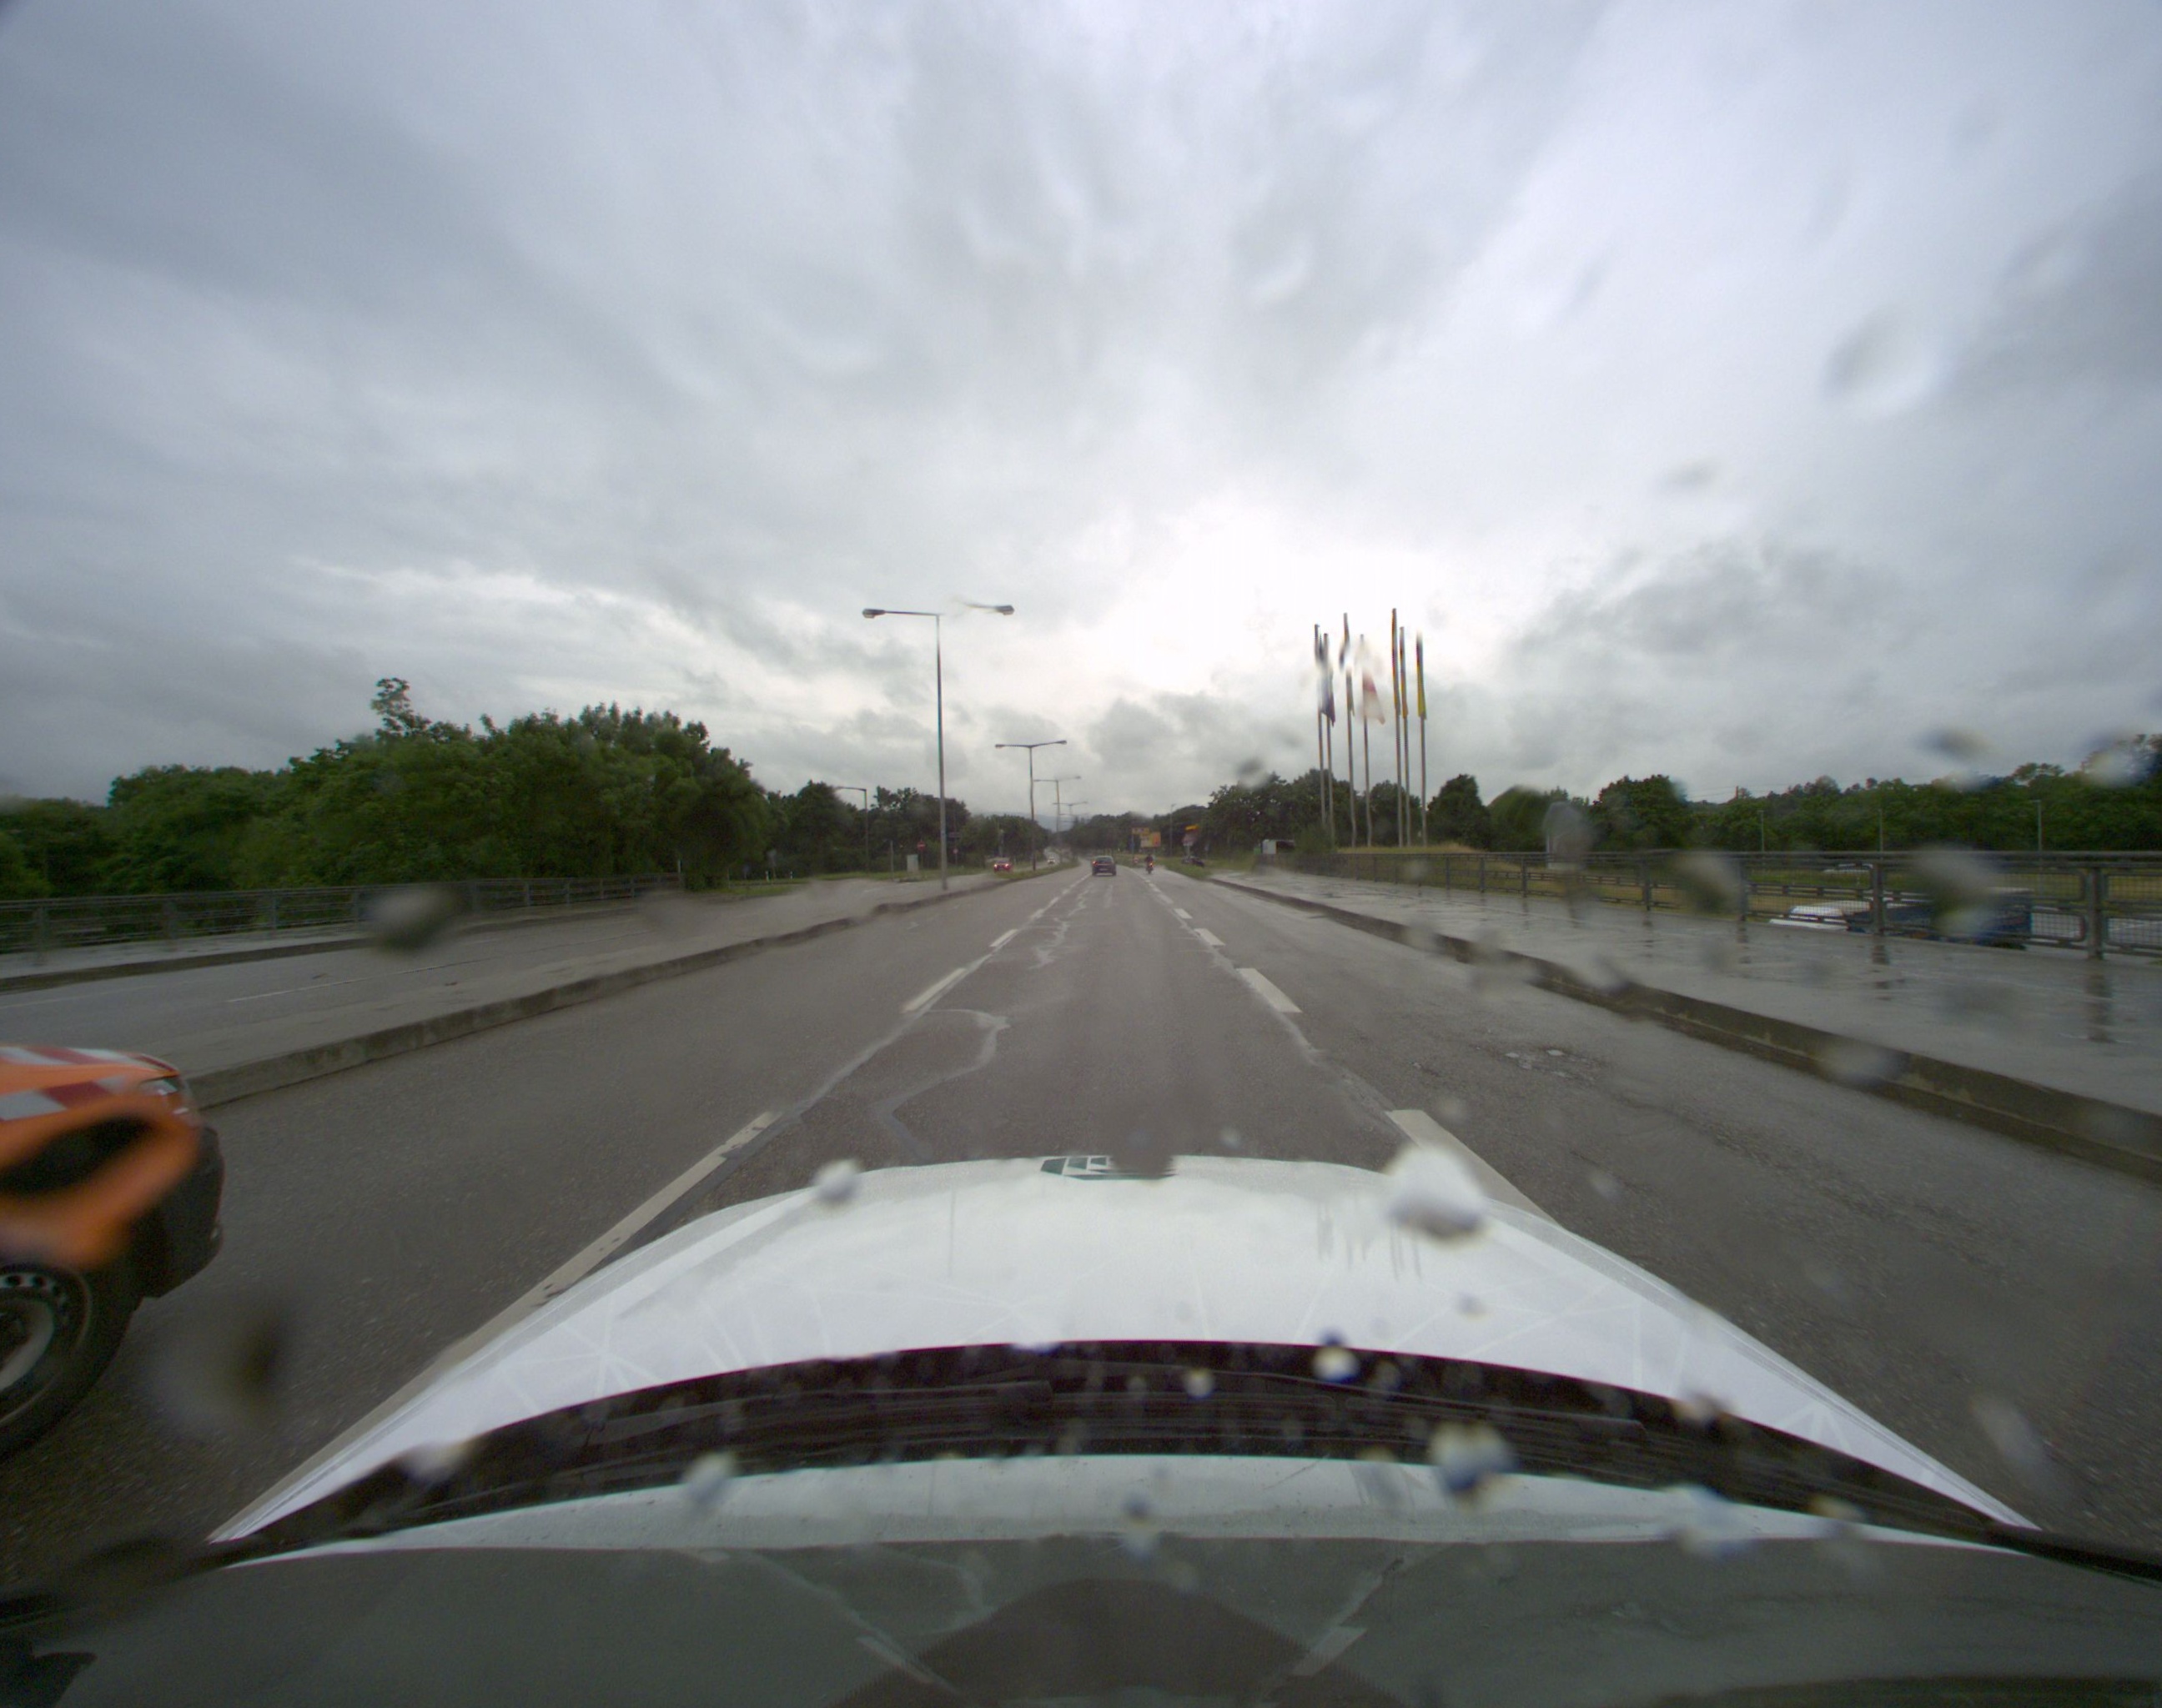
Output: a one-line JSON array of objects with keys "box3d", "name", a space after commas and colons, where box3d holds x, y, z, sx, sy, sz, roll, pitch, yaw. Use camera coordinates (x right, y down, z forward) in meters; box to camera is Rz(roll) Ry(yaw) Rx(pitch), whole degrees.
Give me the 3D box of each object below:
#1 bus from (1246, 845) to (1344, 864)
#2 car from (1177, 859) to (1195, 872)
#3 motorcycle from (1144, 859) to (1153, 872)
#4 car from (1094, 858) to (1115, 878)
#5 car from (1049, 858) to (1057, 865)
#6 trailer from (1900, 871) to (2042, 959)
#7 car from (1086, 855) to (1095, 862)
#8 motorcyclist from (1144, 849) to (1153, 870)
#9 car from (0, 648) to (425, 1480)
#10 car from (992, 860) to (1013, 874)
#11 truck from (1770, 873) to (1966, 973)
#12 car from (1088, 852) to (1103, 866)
[{"box3d": [31.597, 0.103, 119.941, 14.567, 2.680, 2.749, 0, 0, -15], "name": "bus"}, {"box3d": [14.233, 1.527, 110.027, 1.840, 1.618, 4.017, 0, 0, 16], "name": "car"}, {"box3d": [5.559, 0.932, 66.786, 0.599, 1.093, 1.732, -1, 0, 1], "name": "motorcycle"}, {"box3d": [1.703, 1.004, 59.306, 1.458, 1.329, 3.758, -1, 0, 1], "name": "car"}, {"box3d": [-7.062, 1.848, 207.258, 1.701, 1.629, 4.492, -4, 0, 1], "name": "car"}, {"box3d": [47.900, 3.138, 43.807, 7.372, 4.301, 2.552, -1, 0, -20], "name": "trailer"}, {"box3d": [2.977, 1.359, 256.270, 2.510, 2.052, 5.288, -2, -1, -3], "name": "car"}, {"box3d": [5.541, 0.465, 66.768, 0.599, 1.690, 0.860, -1, 0, 0], "name": "motorcyclist"}, {"box3d": [-3.537, 0.499, 0.801, 1.728, 2.019, 4.851, -1, -1, 2], "name": "car"}, {"box3d": [-8.361, 1.380, 86.979, 1.654, 1.448, 3.558, -4, 0, 2], "name": "car"}, {"box3d": [39.288, 3.254, 40.575, 10.944, 4.301, 2.552, -1, 0, -20], "name": "truck"}, {"box3d": [2.007, 0.639, 111.375, 1.986, 1.879, 4.000, -1, -1, 1], "name": "car"}]
